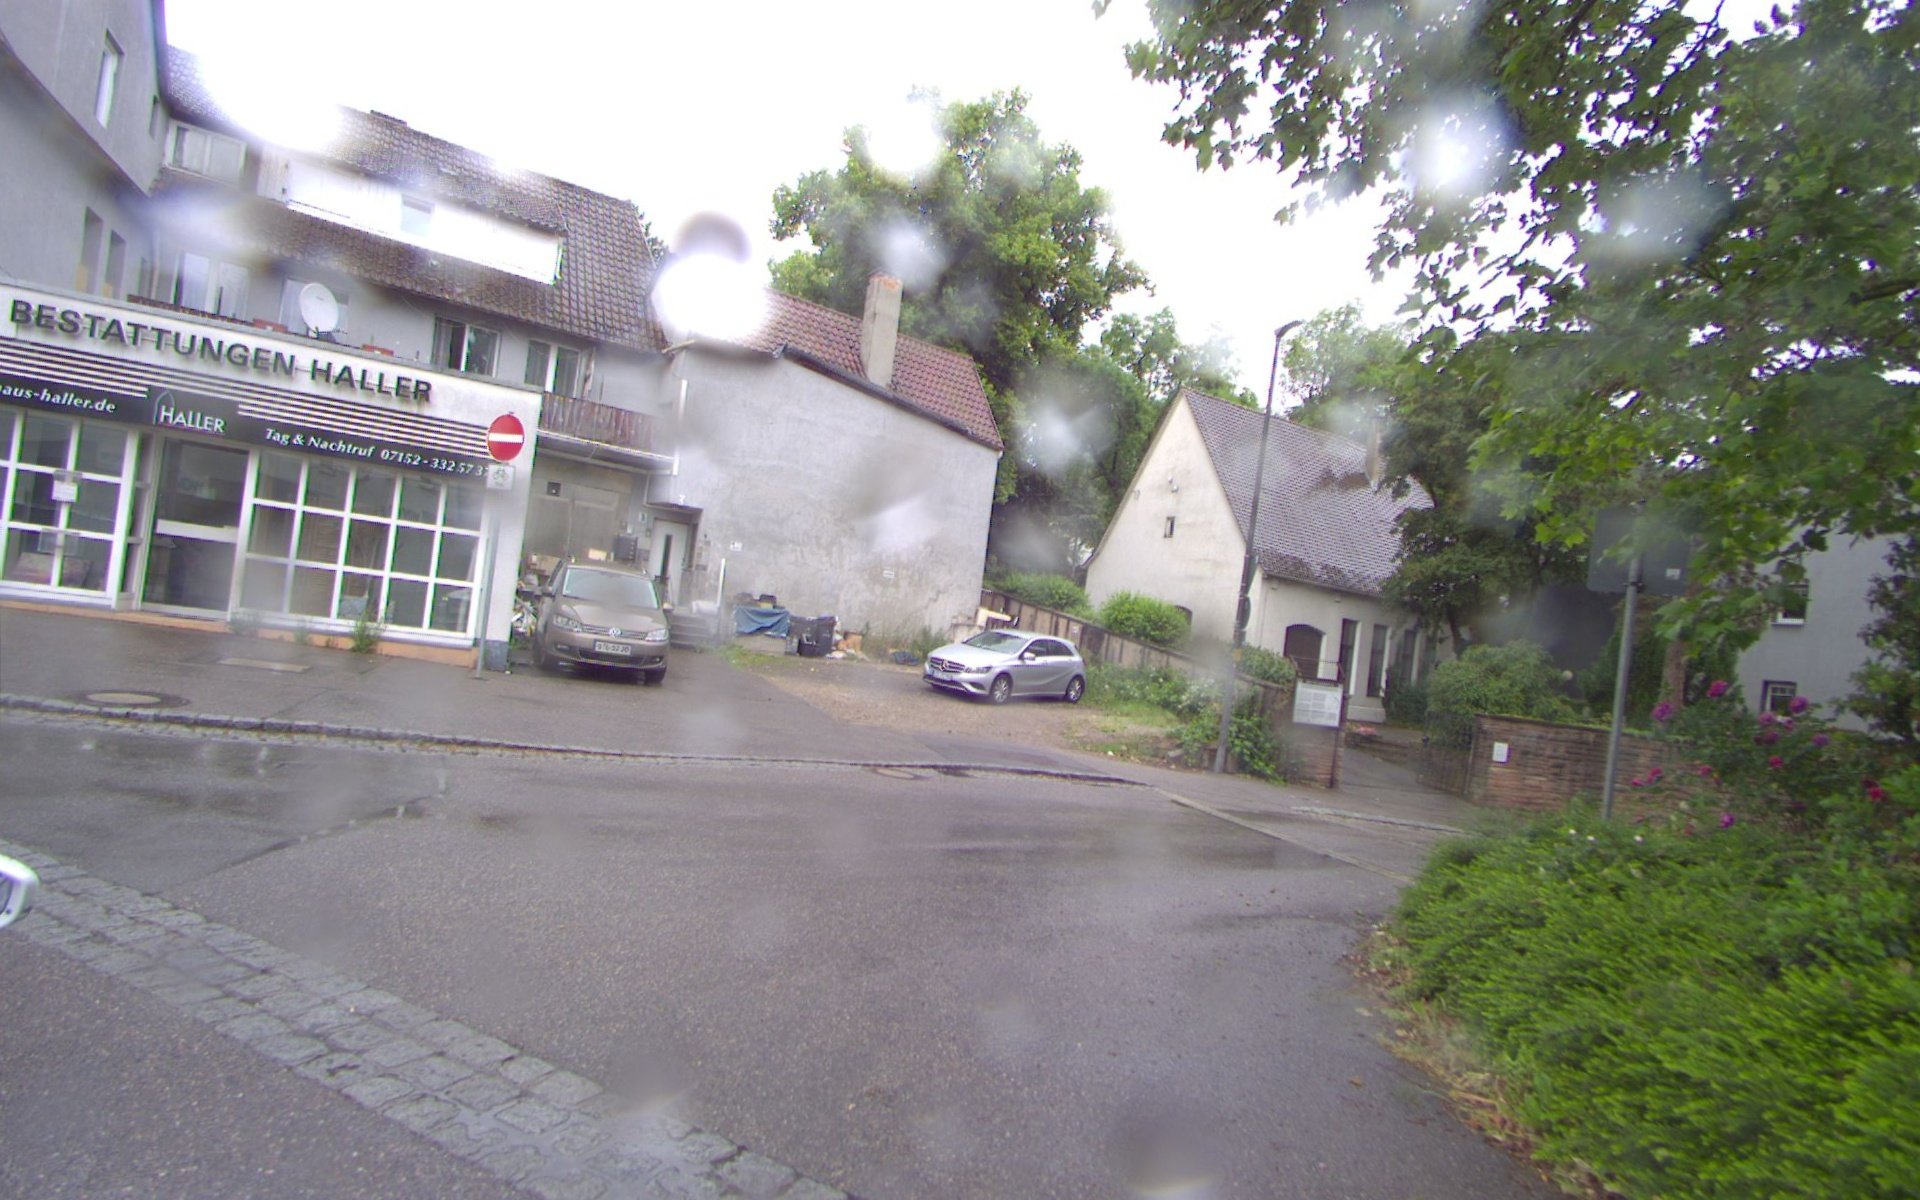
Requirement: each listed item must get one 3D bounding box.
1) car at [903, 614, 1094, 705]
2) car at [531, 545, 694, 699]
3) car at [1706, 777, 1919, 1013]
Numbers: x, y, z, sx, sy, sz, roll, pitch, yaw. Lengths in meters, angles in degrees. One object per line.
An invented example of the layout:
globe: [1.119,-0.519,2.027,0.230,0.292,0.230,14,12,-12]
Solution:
car: [0.902,1.293,21.209,1.806,1.493,3.982,10,2,40]
car: [-5.690,0.249,16.127,1.975,1.794,3.974,9,2,-24]
car: [12.057,3.850,12.331,3.930,1.679,1.988,13,21,2]
